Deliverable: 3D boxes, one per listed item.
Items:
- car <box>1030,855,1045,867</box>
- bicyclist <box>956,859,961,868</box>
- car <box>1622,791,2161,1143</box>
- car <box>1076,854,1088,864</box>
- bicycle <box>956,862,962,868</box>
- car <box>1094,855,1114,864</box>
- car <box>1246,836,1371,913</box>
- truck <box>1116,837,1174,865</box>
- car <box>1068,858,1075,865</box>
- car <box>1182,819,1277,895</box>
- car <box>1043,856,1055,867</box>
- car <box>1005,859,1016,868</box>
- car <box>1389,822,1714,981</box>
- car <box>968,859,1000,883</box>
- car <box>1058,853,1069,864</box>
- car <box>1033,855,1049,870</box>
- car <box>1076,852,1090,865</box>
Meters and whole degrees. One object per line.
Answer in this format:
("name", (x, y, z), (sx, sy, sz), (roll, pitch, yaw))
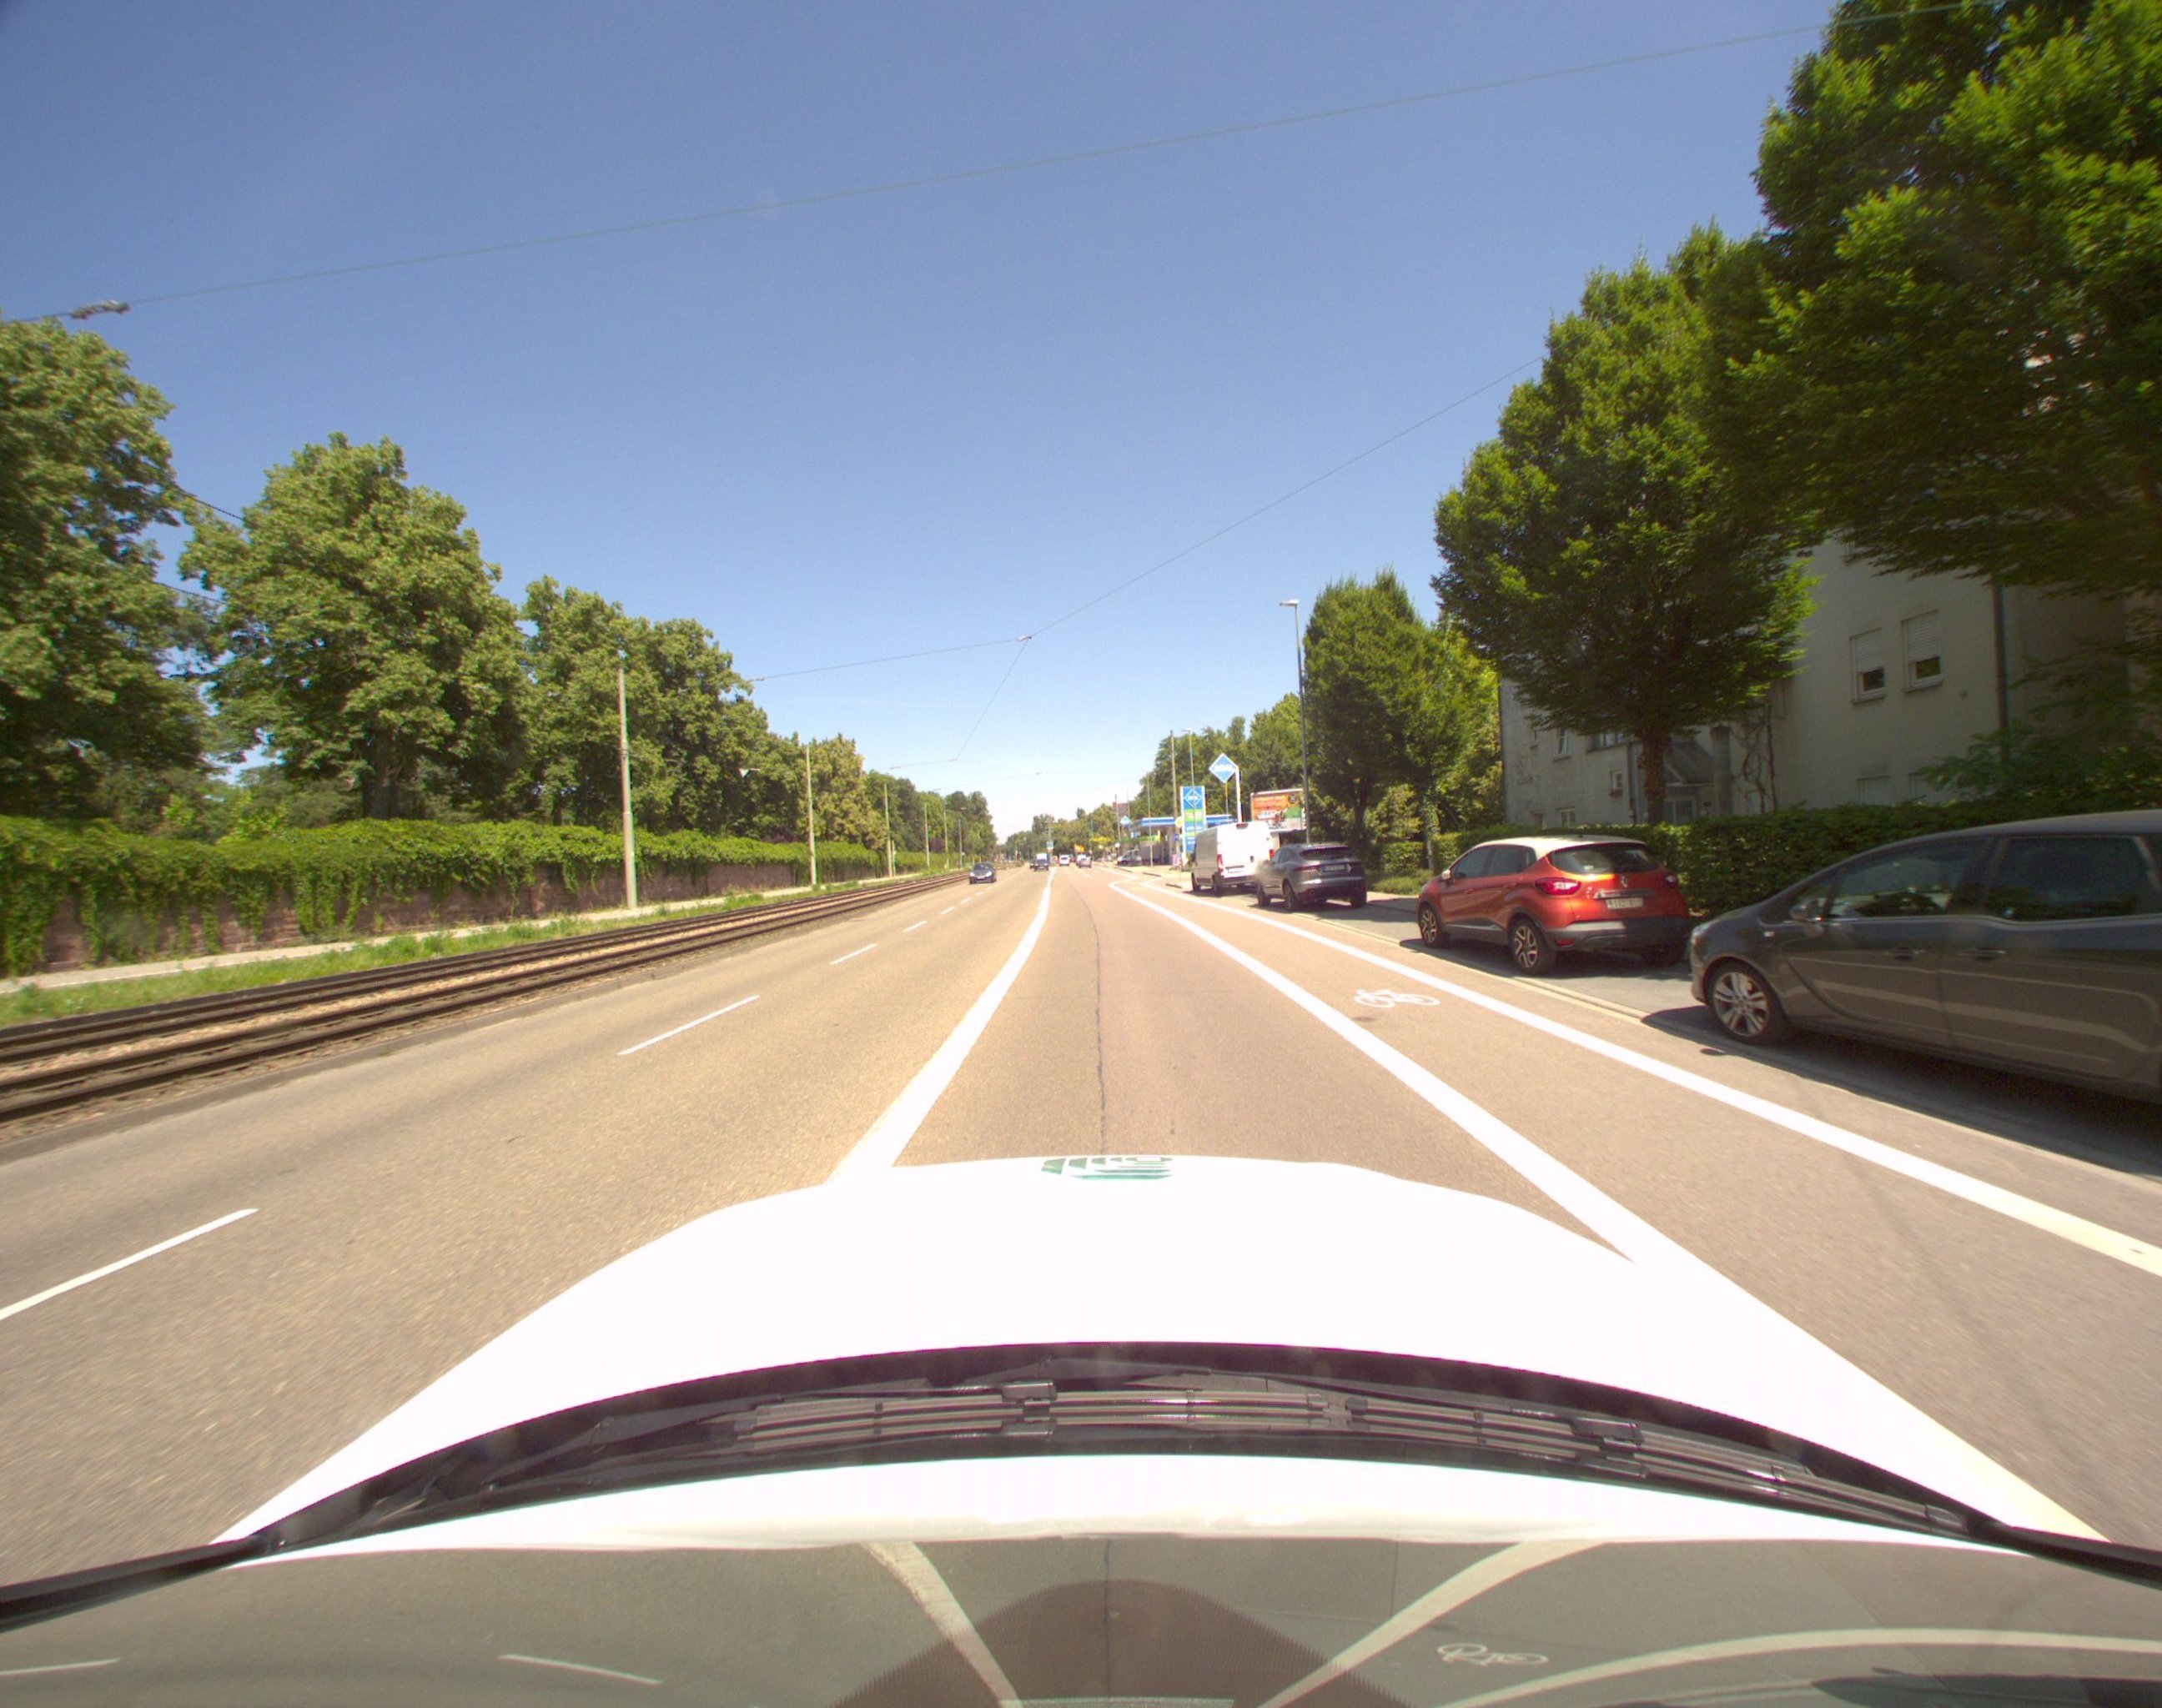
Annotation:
("car", (-6.601, 1.044, 123.397), (1.754, 1.630, 4.312), (-5, 0, -7))
("bicyclist", (-23.091, 1.794, 153.894), (0.679, 1.574, 0.795), (-7, -1, -1))
("car", (5.702, 0.478, 4.973), (1.703, 1.562, 4.320), (-5, 0, -2))
("car", (0.212, 0.850, 142.195), (1.751, 1.630, 4.320), (-5, 0, -2))
("bicycle", (-23.053, 2.153, 153.879), (0.679, 1.054, 2.008), (-7, -1, 0))
("car", (5.353, 1.238, 187.986), (4.275, 1.630, 1.770), (-5, 0, 18))
("car", (5.695, 0.465, 21.002), (1.751, 1.630, 4.320), (-5, 0, -2))
("truck", (9.044, -0.395, 115.377), (7.933, 3.602, 2.665), (-3, 0, 3))
("car", (-2.455, 1.894, 210.218), (1.751, 1.630, 4.320), (-5, 0, -2))
("car", (5.519, 0.097, 31.217), (1.997, 2.456, 6.102), (-5, 0, -3))
("car", (-5.416, 1.260, 138.720), (1.750, 1.630, 4.322), (-5, 0, -1))
("car", (-13.272, 1.756, 153.411), (1.754, 1.630, 4.312), (-5, 0, -7))
("car", (5.890, 0.507, 10.928), (1.702, 1.562, 4.322), (-5, 0, -1))
("car", (-6.848, 1.169, 57.965), (1.751, 1.509, 4.320), (-5, 0, -2))
("car", (-3.015, 0.780, 141.069), (1.751, 1.874, 4.320), (-5, 0, -2))
("car", (-4.844, 1.015, 98.365), (1.751, 1.630, 4.320), (-5, 0, -2))
("car", (0.248, 0.604, 117.322), (1.751, 1.630, 4.320), (-5, 0, -2))
